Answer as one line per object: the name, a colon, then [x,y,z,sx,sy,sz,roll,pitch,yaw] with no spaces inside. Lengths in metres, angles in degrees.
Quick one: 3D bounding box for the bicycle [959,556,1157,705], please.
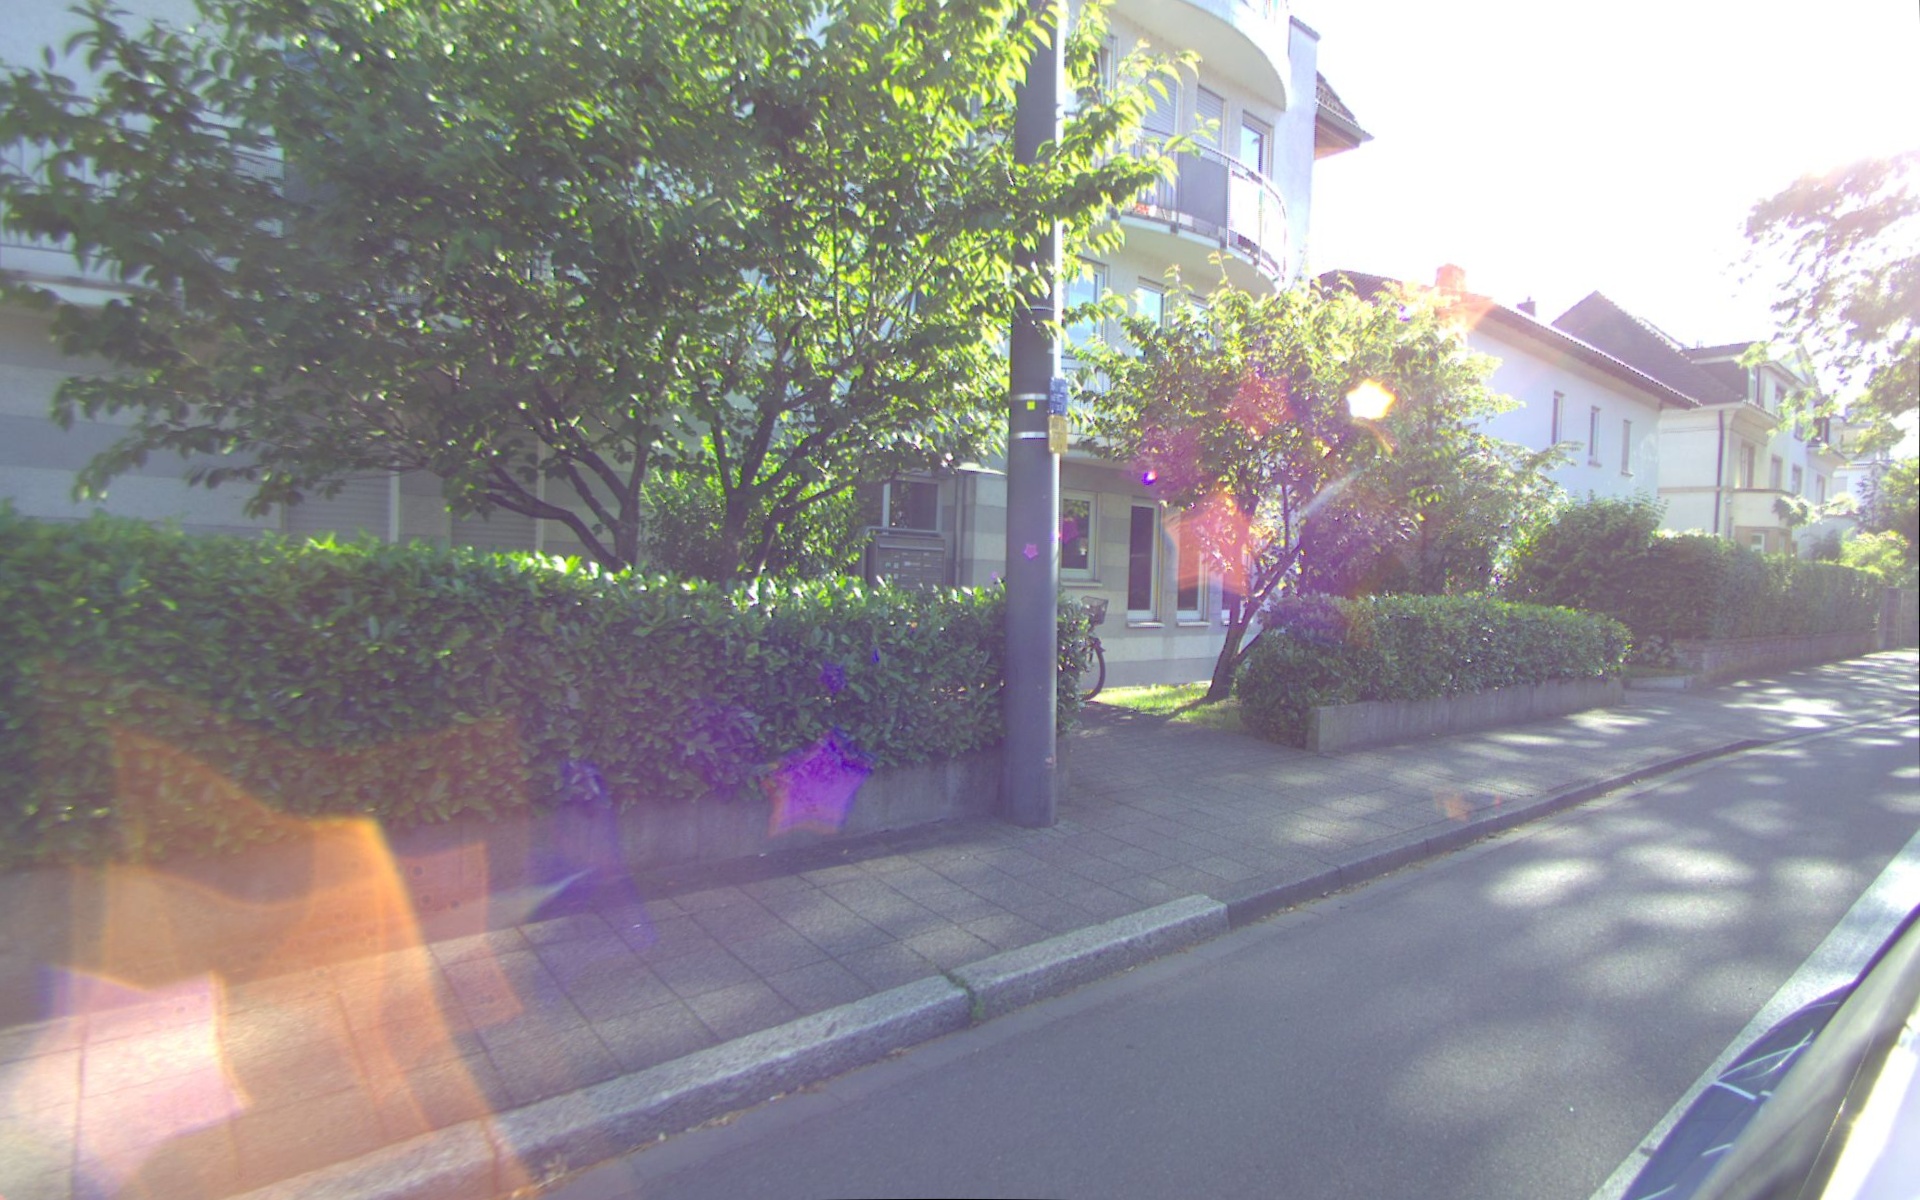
bicycle: [0.926,0.245,10.057,0.811,1.217,1.846,0,6,-40]
